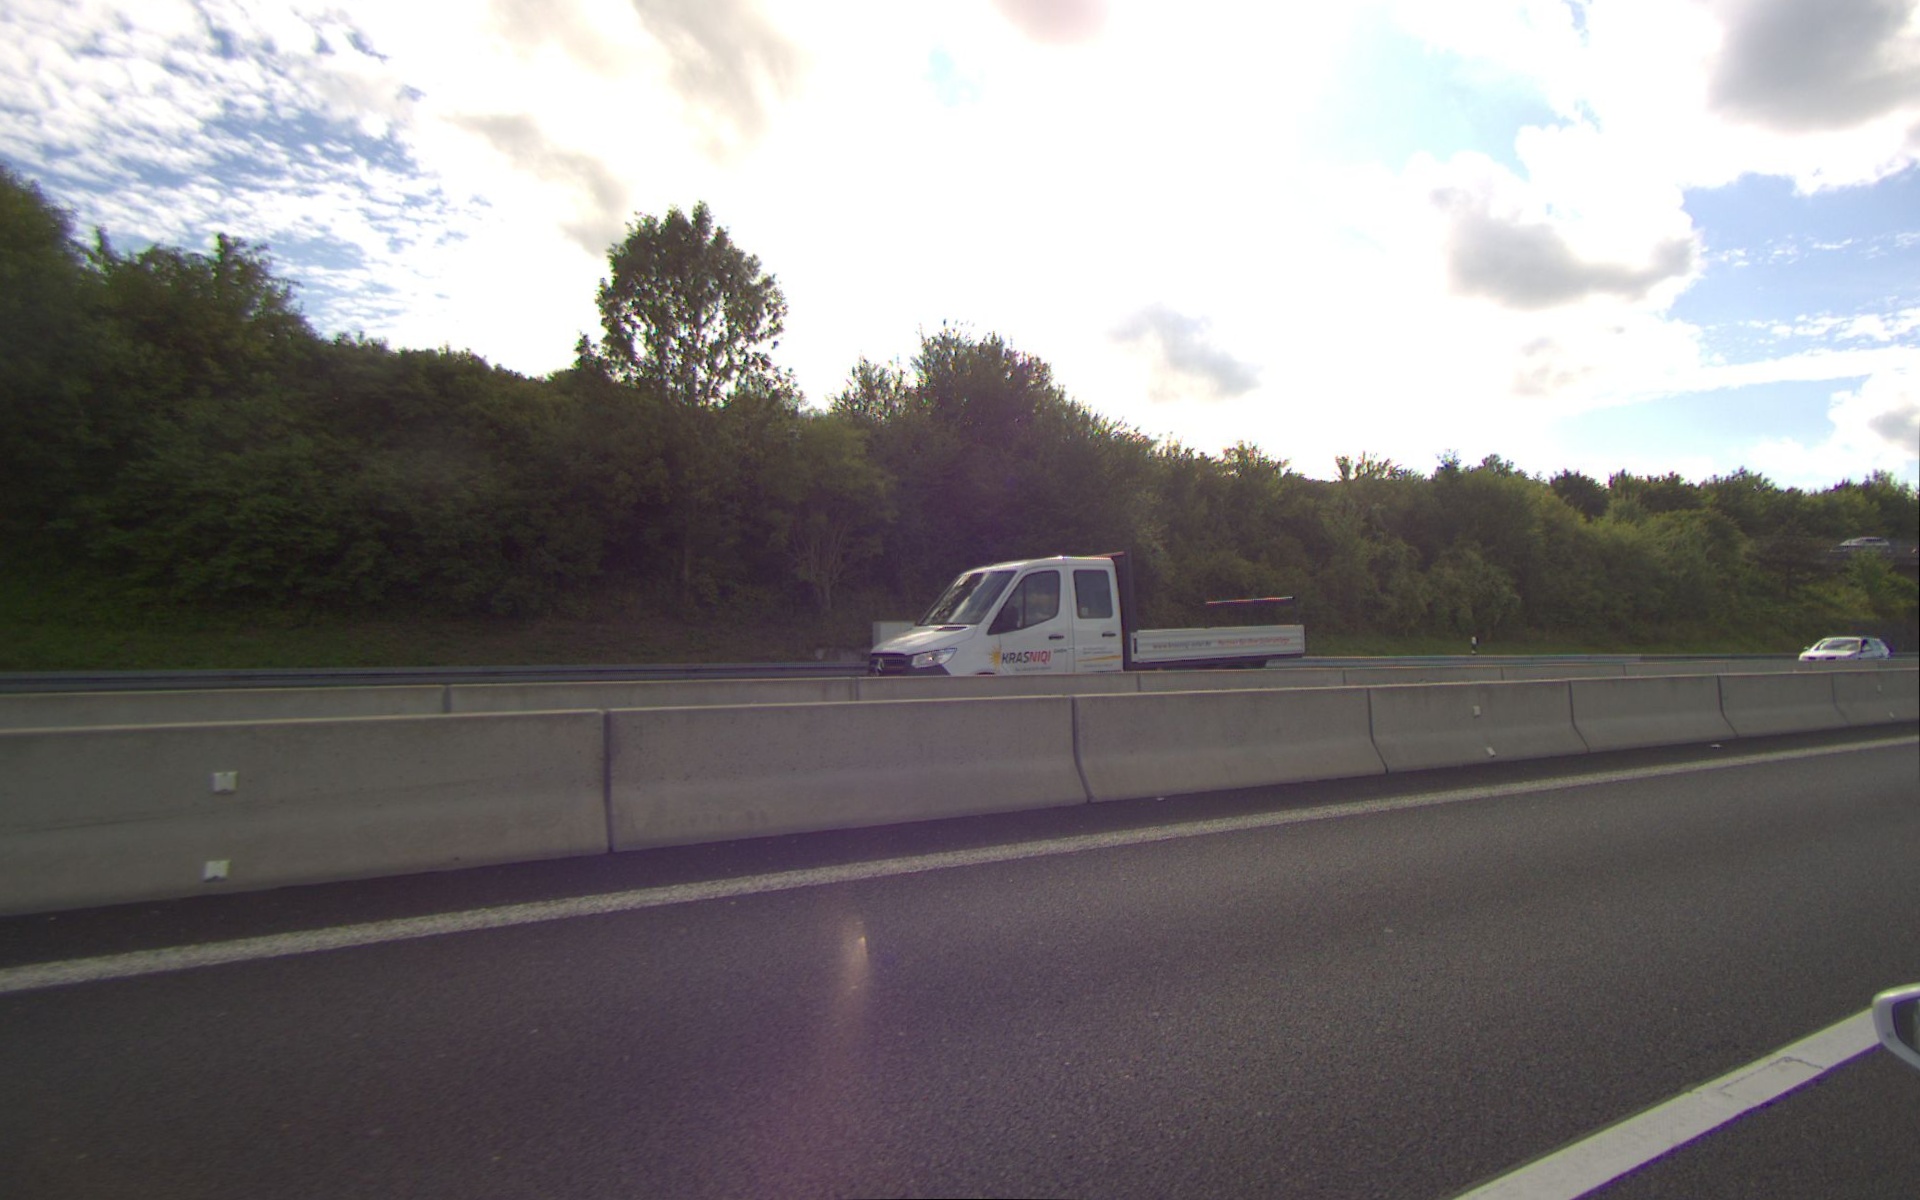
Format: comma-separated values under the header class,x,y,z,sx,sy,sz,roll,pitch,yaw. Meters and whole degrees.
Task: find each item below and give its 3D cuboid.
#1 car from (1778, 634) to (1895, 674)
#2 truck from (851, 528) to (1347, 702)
class,x,y,z,sx,sy,sz,roll,pitch,yaw
car,33.376,2.032,38.217,4.670,1.455,1.984,2,-2,-31
truck,2.251,0.300,14.722,7.349,2.040,2.365,2,-2,-30
